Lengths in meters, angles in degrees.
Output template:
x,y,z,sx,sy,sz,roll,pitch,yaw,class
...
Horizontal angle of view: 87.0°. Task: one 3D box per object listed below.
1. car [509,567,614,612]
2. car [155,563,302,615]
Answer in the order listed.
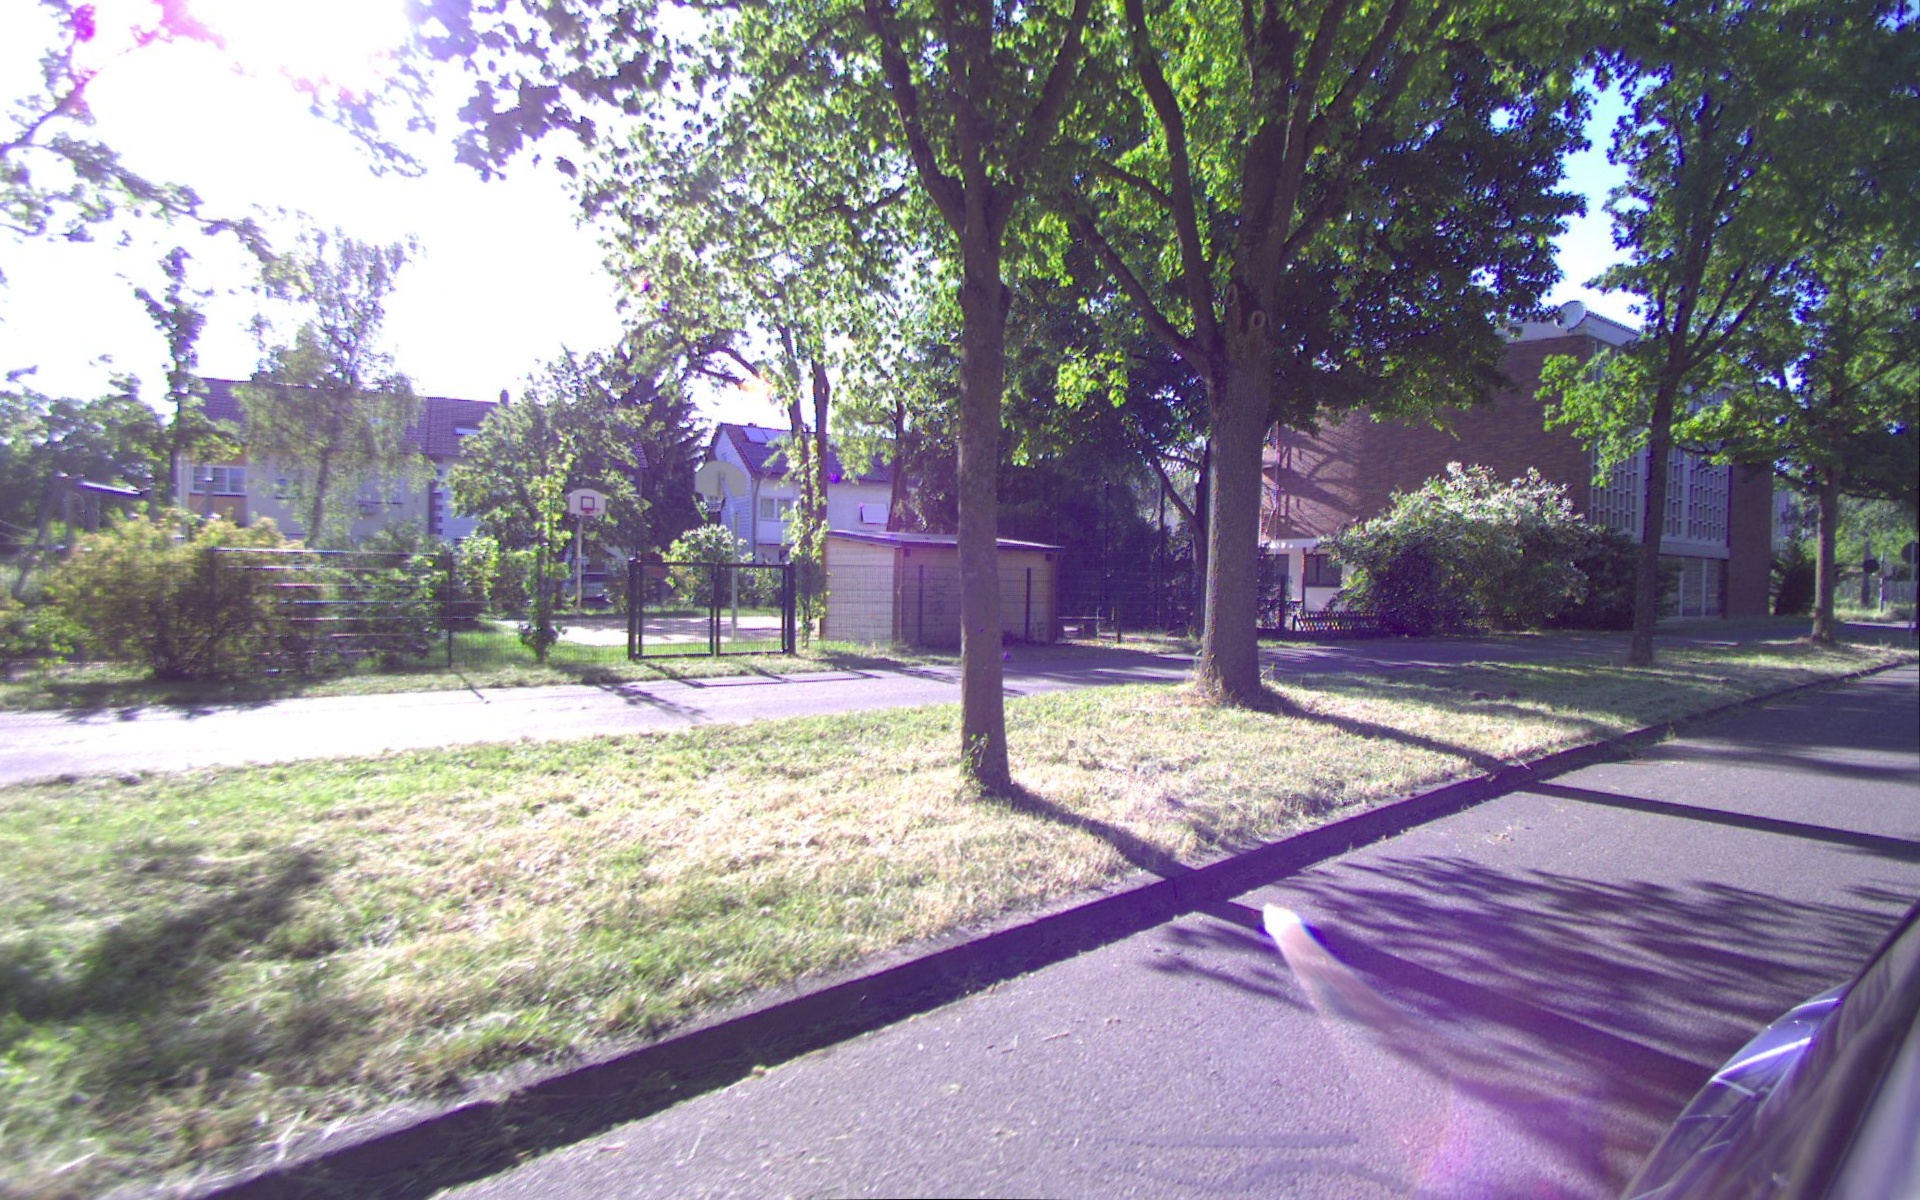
x,y,z,sx,sy,sz,roll,pitch,yaw,class
-16.394,-0.464,41.721,3.916,1.771,1.909,-1,3,-22,car
-26.382,-0.452,36.649,3.916,1.771,1.909,-1,3,-22,car
